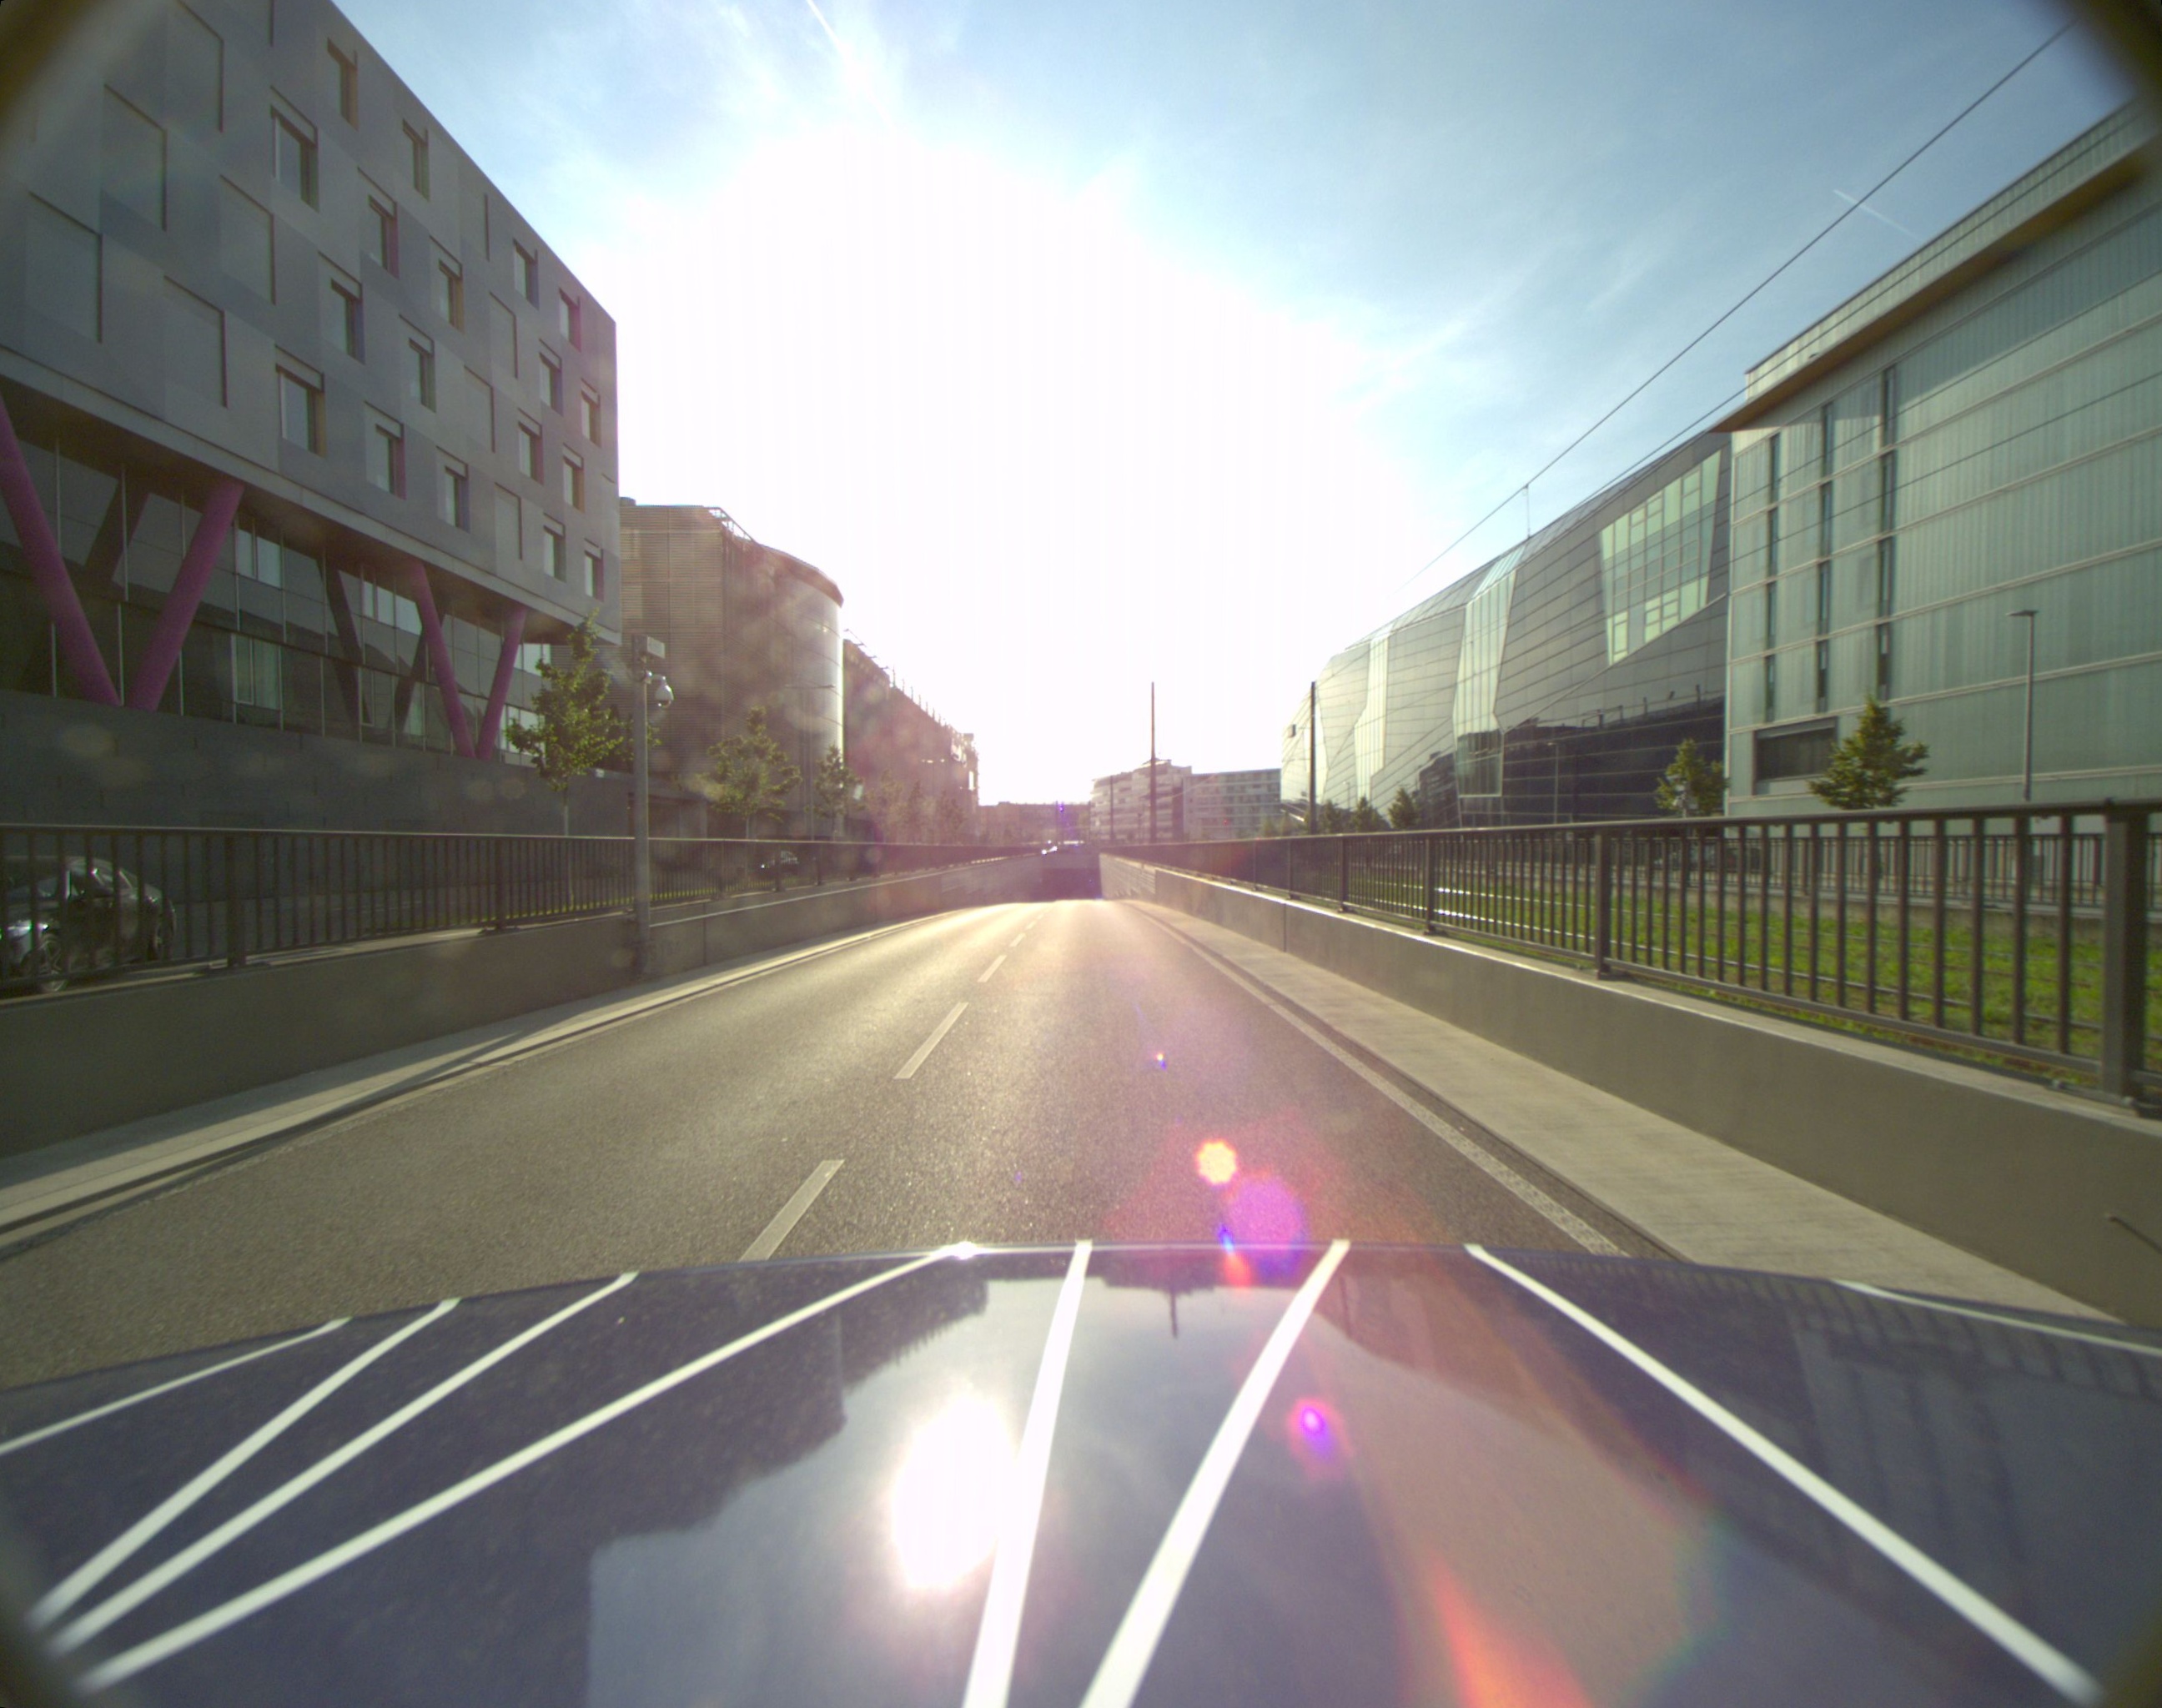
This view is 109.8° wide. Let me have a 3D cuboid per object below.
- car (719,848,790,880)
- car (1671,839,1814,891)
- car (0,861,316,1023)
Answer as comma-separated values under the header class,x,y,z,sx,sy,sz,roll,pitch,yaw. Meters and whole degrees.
class,x,y,z,sx,sy,sz,roll,pitch,yaw
car,-17.431,0.498,40.862,1.894,1.418,4.470,-1,3,-1
car,23.605,0.366,27.336,1.746,1.739,3.935,0,0,1
car,-11.056,0.847,8.074,1.845,1.442,4.551,-2,1,-11
